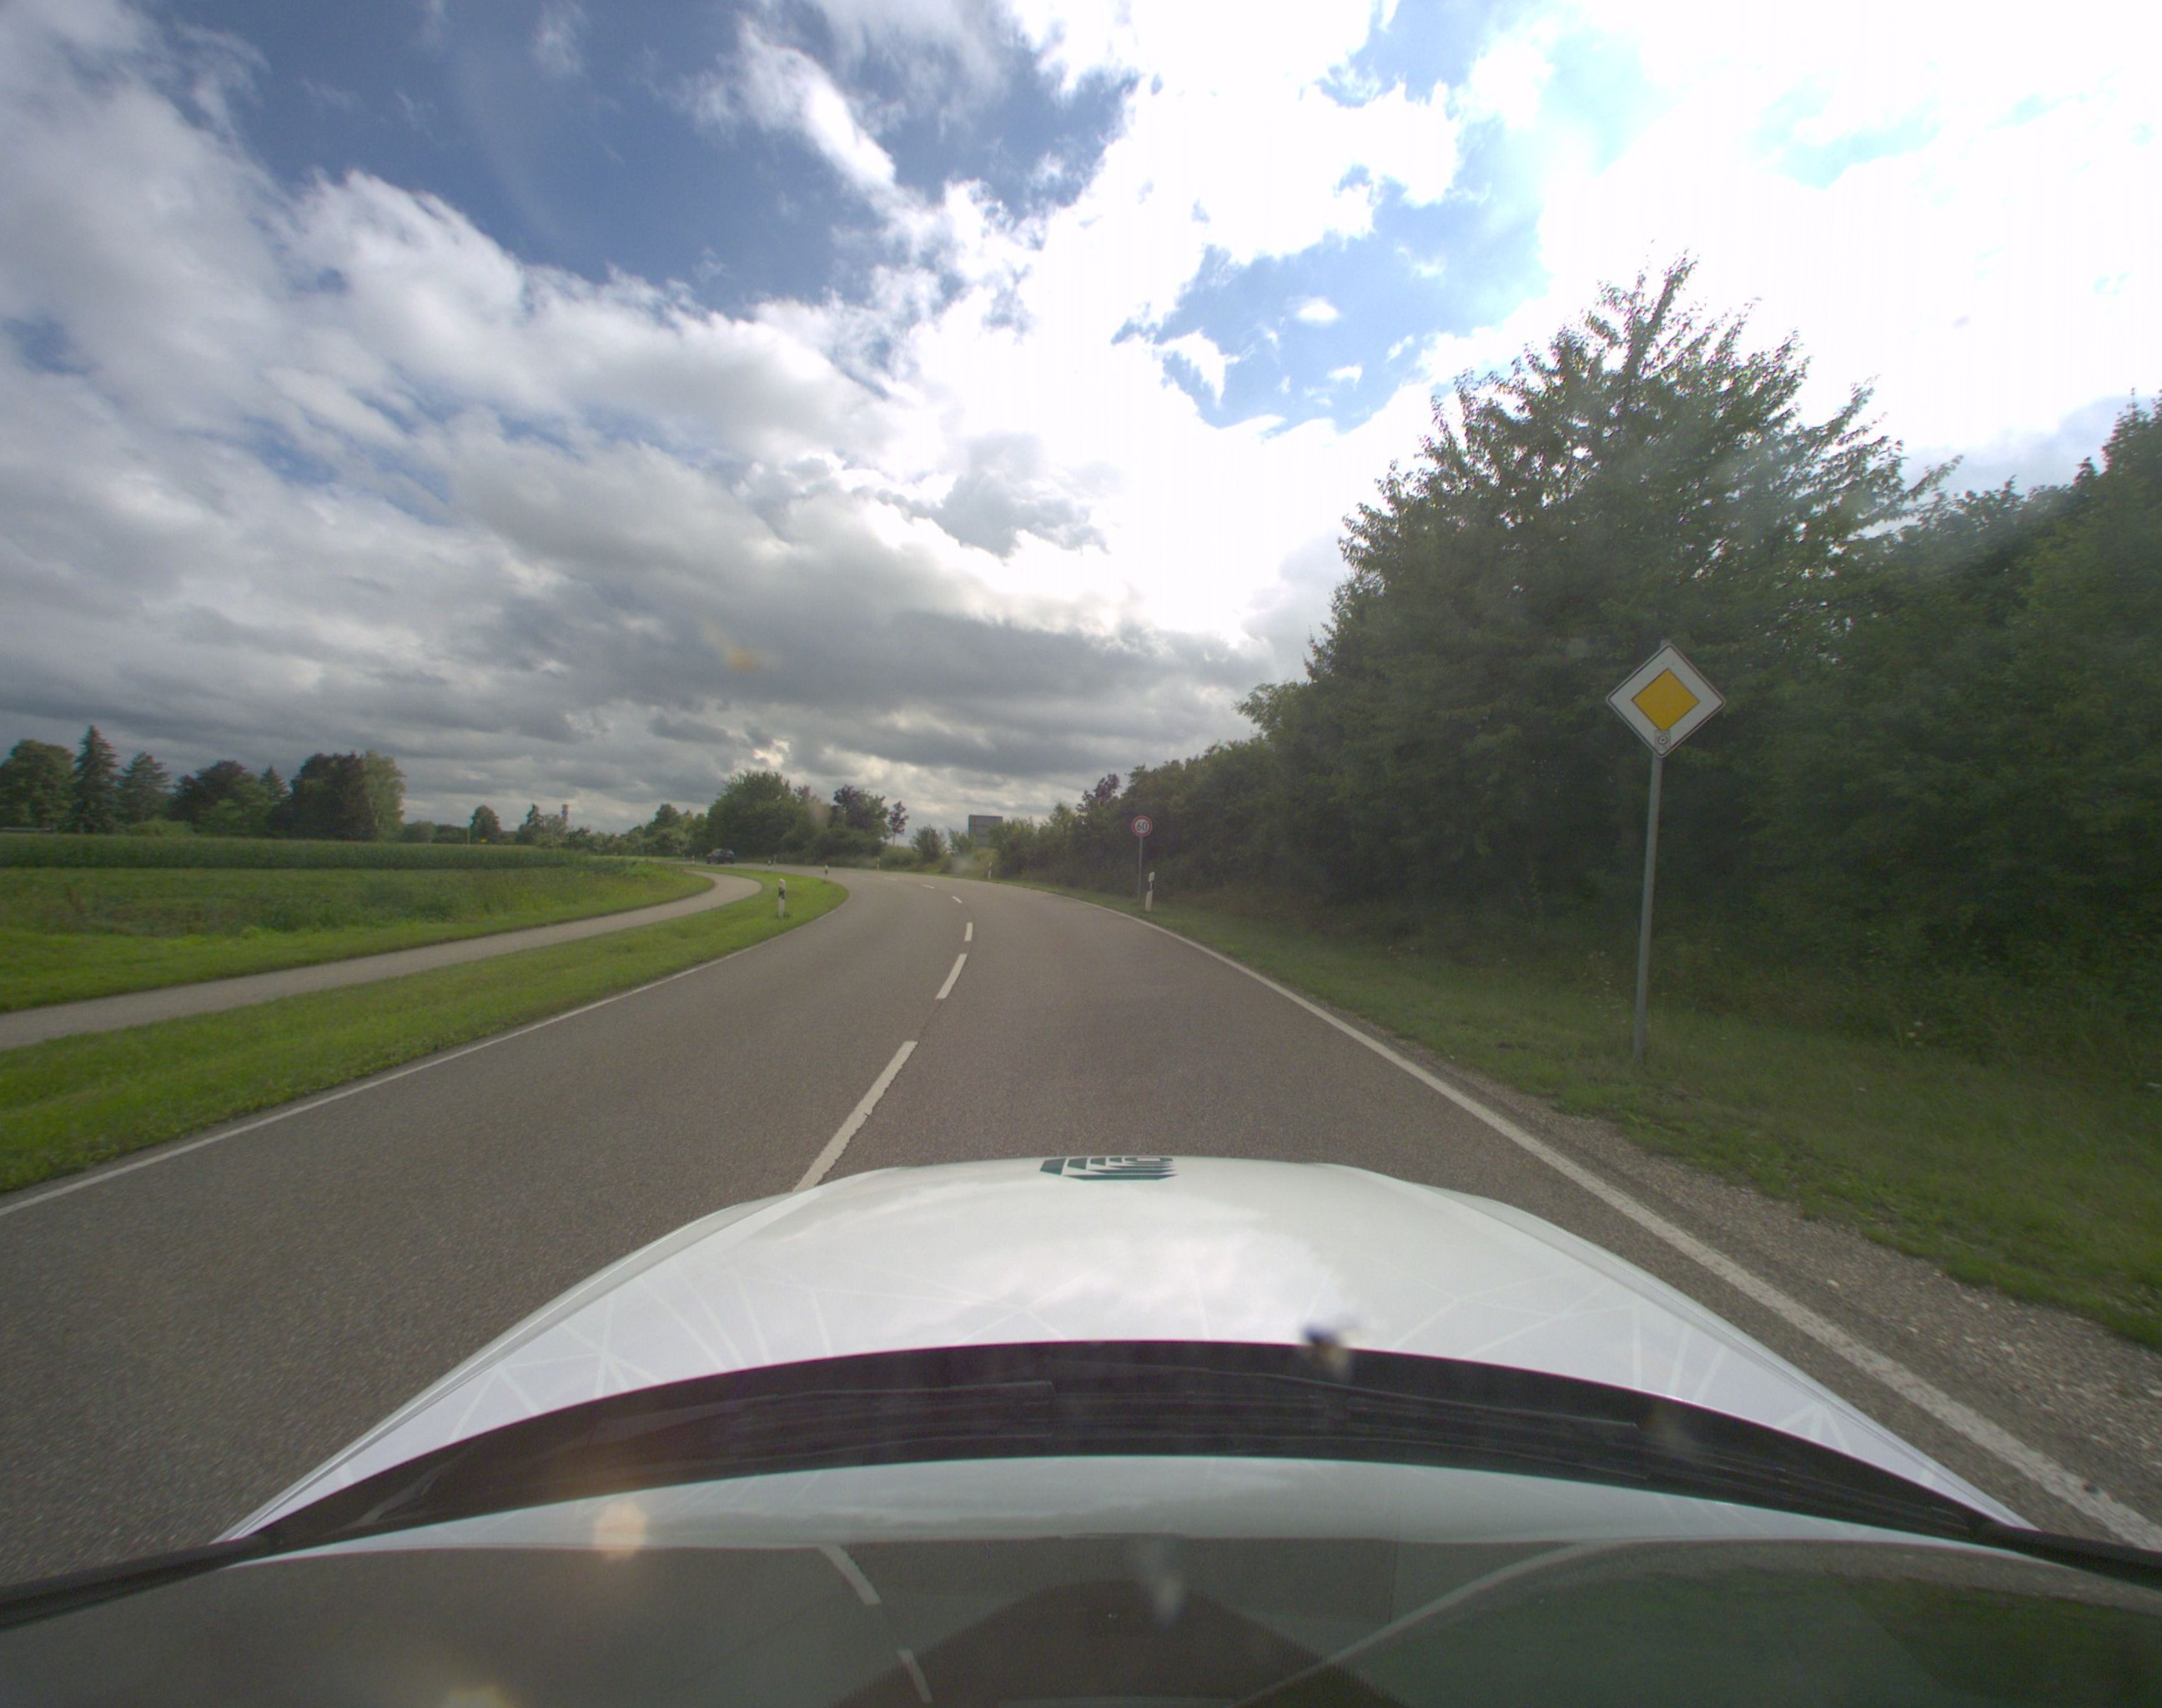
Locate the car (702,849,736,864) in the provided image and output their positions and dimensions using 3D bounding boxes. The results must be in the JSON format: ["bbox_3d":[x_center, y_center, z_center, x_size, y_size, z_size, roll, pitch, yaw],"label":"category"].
[{"bbox_3d":[-40.326,0.257,90.706,3.949,1.666,1.924,0,0,42],"label":"car"}]
